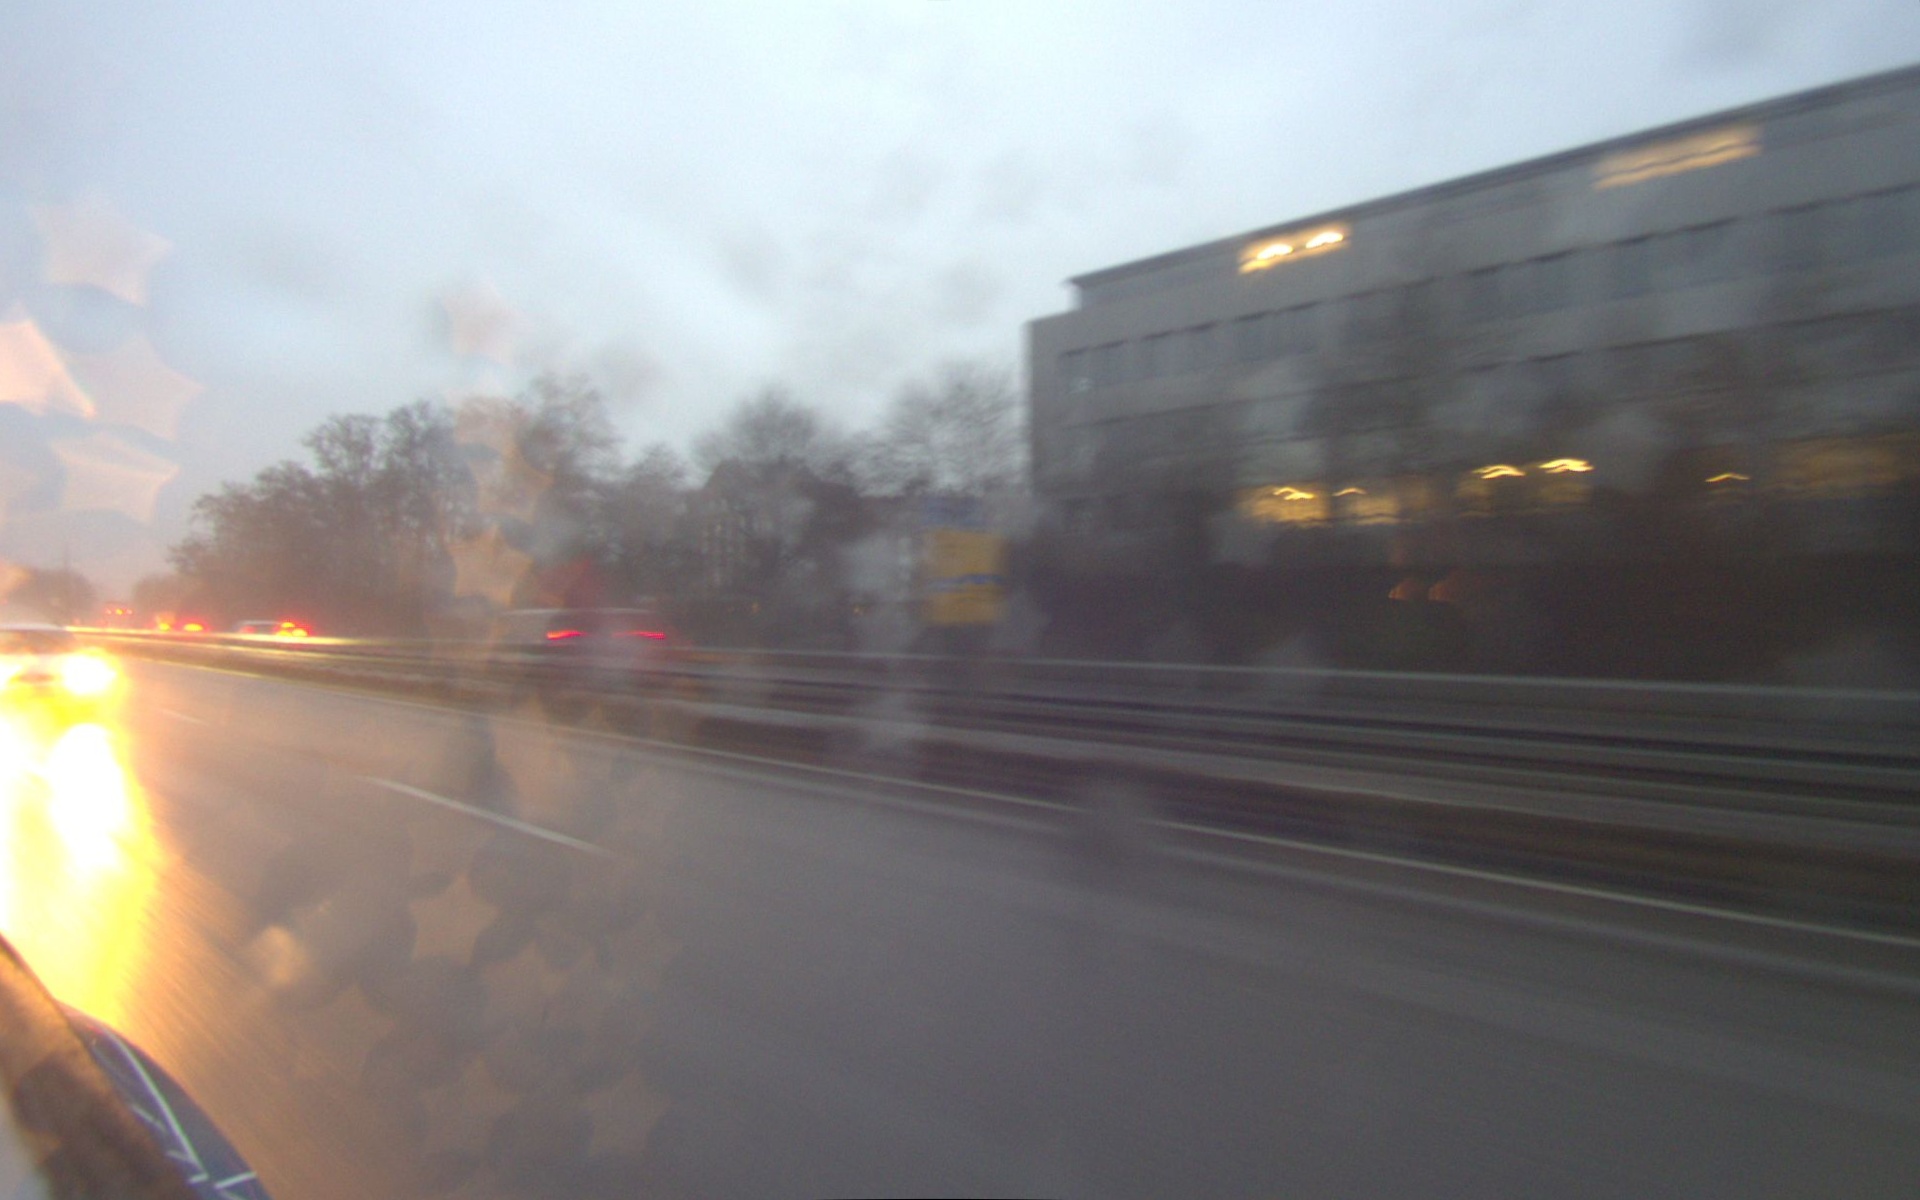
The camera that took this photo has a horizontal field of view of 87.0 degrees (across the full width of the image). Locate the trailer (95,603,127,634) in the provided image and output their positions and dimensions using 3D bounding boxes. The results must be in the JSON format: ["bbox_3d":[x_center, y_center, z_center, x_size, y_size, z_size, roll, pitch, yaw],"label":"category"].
[{"bbox_3d":[-139.931,3.019,166.759,3.448,4.884,13.495,-2,1,-42],"label":"trailer"}]

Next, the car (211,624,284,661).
[{"bbox_3d":[-34.158,1.986,48.492,4.667,1.669,1.823,-1,-2,41],"label":"car"}]

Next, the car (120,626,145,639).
[{"bbox_3d":[-95.537,3.750,116.825,4.473,1.331,1.691,-1,1,44],"label":"car"}]

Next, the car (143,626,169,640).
[{"bbox_3d":[-83.568,3.393,105.172,4.258,1.331,1.528,-1,1,44],"label":"car"}]

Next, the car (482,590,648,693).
[{"bbox_3d":[-9.881,0.979,25.103,5.051,2.299,1.952,-1,-2,45],"label":"car"}]

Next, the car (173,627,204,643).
[{"bbox_3d":[-70.152,3.154,91.990,4.687,1.281,1.528,-1,1,44],"label":"car"}]

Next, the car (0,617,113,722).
[{"bbox_3d":[-15.567,1.069,16.708,4.789,1.532,1.926,-2,-2,44],"label":"car"}]
